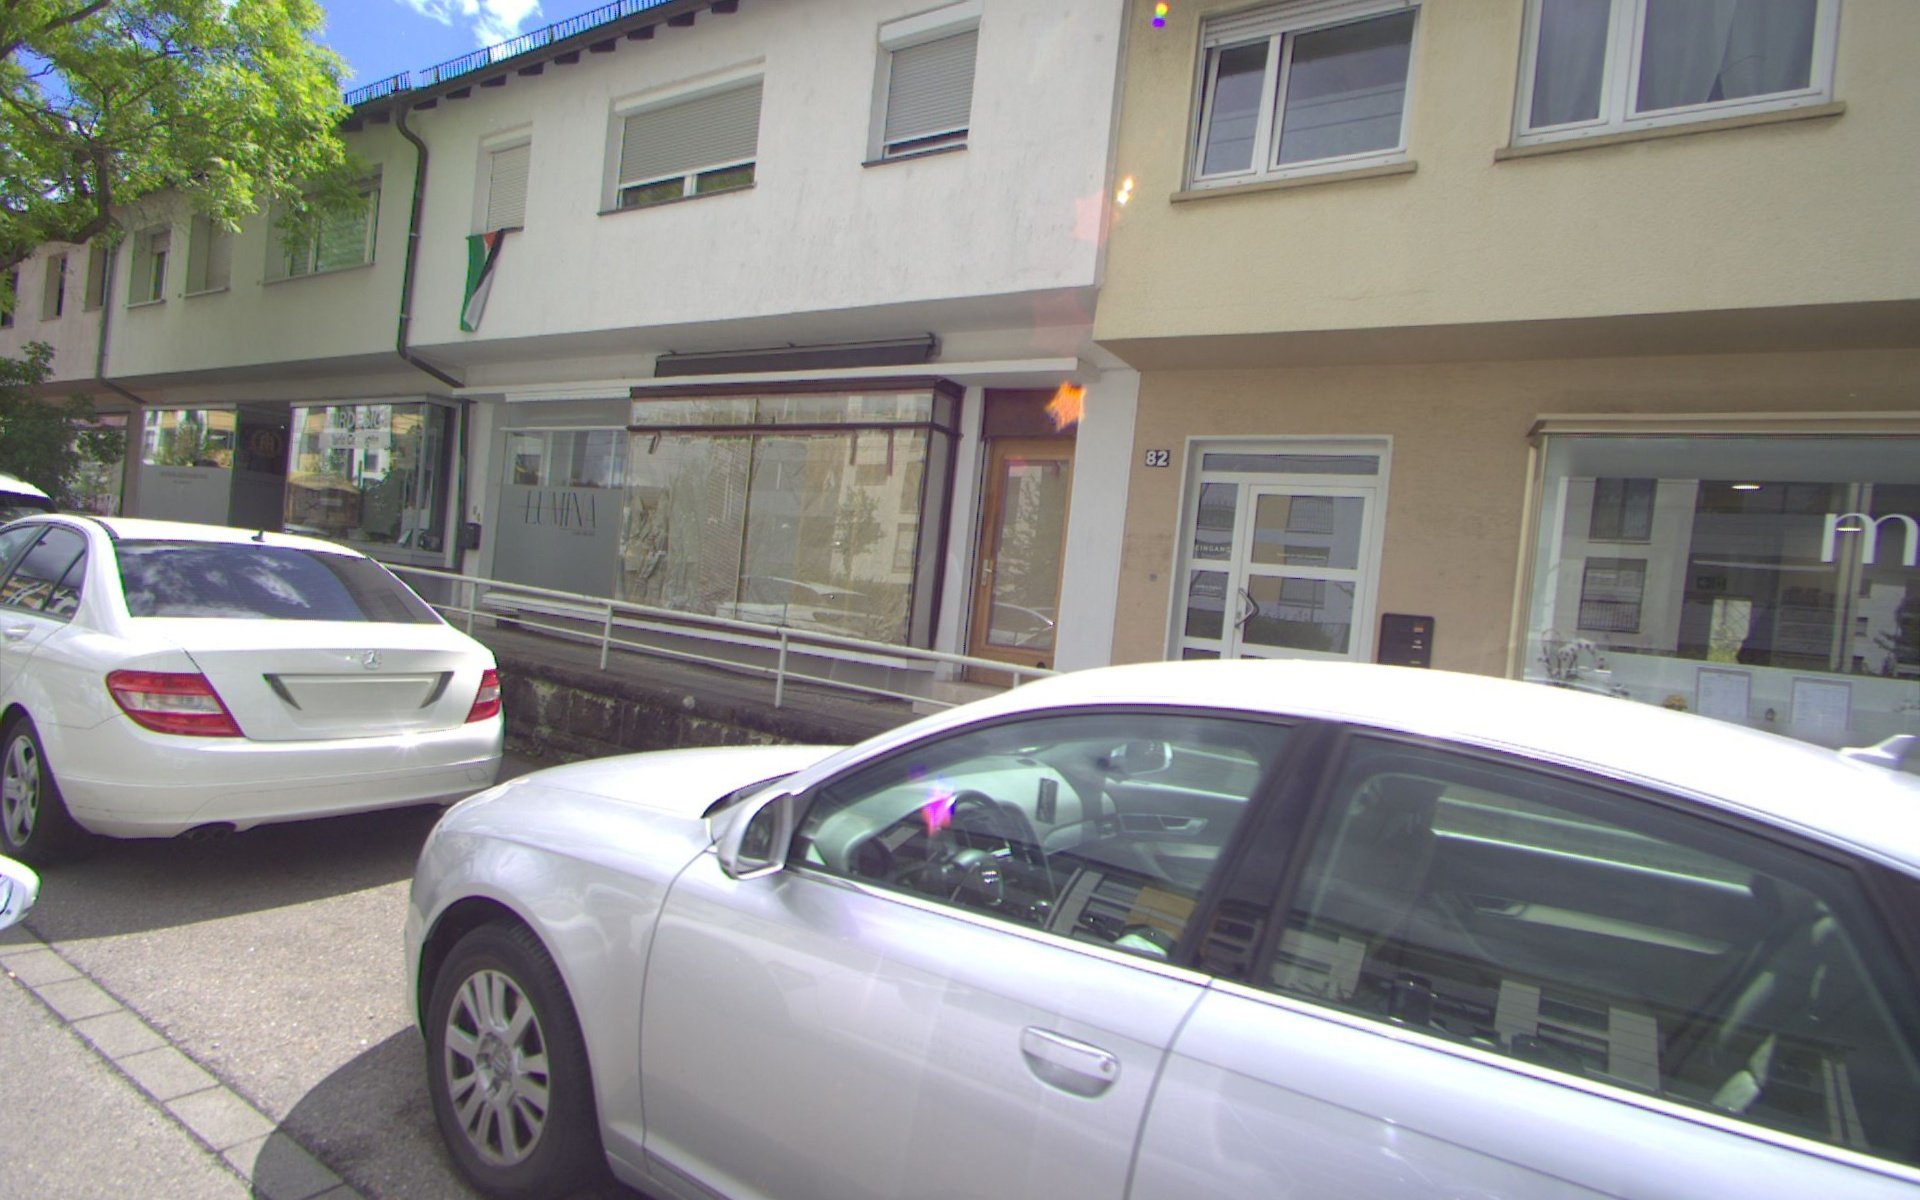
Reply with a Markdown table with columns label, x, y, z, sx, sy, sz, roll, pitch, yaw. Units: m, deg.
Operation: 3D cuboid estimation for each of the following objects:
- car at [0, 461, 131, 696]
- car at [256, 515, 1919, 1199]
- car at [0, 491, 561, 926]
| label | x | y | z | sx | sy | sz | roll | pitch | yaw |
| --- | --- | --- | --- | --- | --- | --- | --- | --- | --- |
| car | -8.755 | -0.373 | 8.074 | 4.356 | 1.663 | 1.840 | 6 | -1 | 32 |
| car | 0.502 | 0.800 | 2.324 | 4.832 | 1.517 | 1.815 | 6 | 0 | 34 |
| car | -4.289 | 0.255 | 5.333 | 4.373 | 1.443 | 1.726 | 6 | 0 | 33 |
